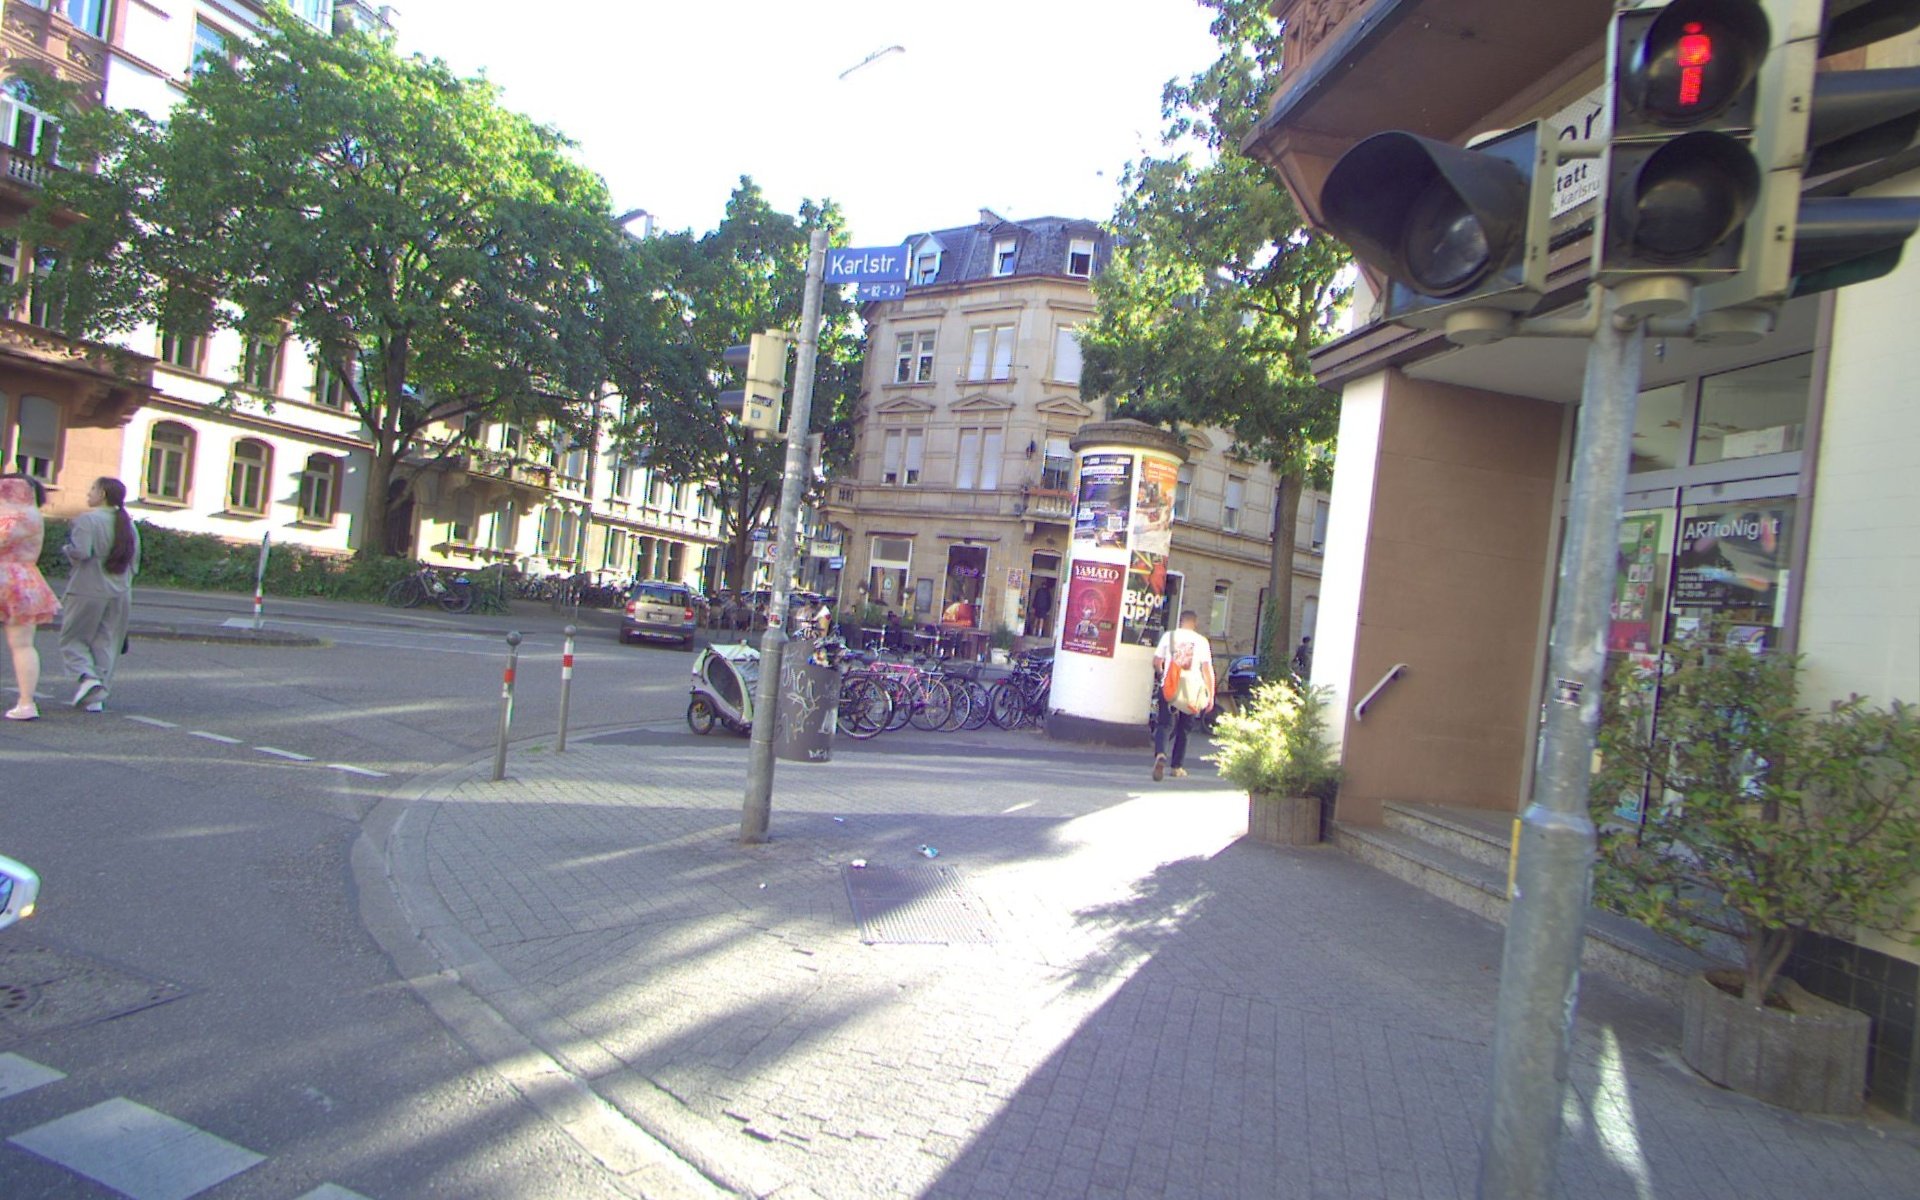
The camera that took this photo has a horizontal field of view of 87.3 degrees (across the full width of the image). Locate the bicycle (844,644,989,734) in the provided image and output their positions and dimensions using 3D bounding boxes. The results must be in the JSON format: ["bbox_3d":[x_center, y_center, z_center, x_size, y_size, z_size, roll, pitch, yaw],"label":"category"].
[{"bbox_3d":[-0.604,1.190,13.715,1.885,1.012,0.450,5,0,23],"label":"bicycle"}]

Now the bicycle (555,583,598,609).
[{"bbox_3d":[-16.304,-0.190,42.738,1.764,0.904,0.493,6,0,21],"label":"bicycle"}]

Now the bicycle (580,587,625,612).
[{"bbox_3d":[-15.088,-0.020,42.487,0.485,0.904,1.793,6,-1,33],"label":"bicycle"}]

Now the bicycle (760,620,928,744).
[{"bbox_3d":[-1.371,0.933,11.775,1.885,1.238,0.450,5,0,23],"label":"bicycle"}]

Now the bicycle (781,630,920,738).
[{"bbox_3d":[-1.344,1.009,12.315,1.582,1.125,0.450,5,0,23],"label":"bicycle"}]

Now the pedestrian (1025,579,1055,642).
[{"bbox_3d":[2.654,0.357,33.565,0.726,1.990,0.730,6,0,0],"label":"pedestrian"}]

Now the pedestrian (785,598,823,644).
[{"bbox_3d":[-5.122,0.688,32.945,0.907,1.448,0.757,2,3,-39],"label":"pedestrian"}]

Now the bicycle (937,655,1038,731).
[{"bbox_3d":[0.403,1.365,14.879,1.381,0.961,0.449,5,-1,31],"label":"bicycle"}]

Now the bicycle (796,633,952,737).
[{"bbox_3d":[-1.105,1.056,12.775,1.885,1.112,0.450,5,0,23],"label":"bicycle"}]

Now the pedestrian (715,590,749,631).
[{"bbox_3d":[-8.438,0.390,37.264,0.907,1.448,0.757,2,3,-39],"label":"pedestrian"}]

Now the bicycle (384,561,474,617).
[{"bbox_3d":[-13.239,-0.261,25.125,1.847,1.176,0.554,7,1,-35],"label":"bicycle"}]

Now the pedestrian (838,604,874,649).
[{"bbox_3d":[-3.567,0.906,34.382,0.759,1.448,0.905,2,3,-41],"label":"pedestrian"}]

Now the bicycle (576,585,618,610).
[{"bbox_3d":[-15.909,-0.110,44.032,1.764,0.904,0.493,6,0,21],"label":"bicycle"}]

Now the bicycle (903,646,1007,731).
[{"bbox_3d":[-0.078,1.248,14.415,1.381,1.055,0.449,5,0,31],"label":"bicycle"}]

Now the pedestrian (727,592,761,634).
[{"bbox_3d":[-7.790,0.472,36.320,0.906,1.448,0.757,2,3,-38],"label":"pedestrian"}]

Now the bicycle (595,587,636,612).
[{"bbox_3d":[-15.472,-0.028,45.141,1.764,0.904,0.493,6,0,21],"label":"bicycle"}]

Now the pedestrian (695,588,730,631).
[{"bbox_3d":[-8.785,0.354,35.725,0.906,1.448,0.757,2,3,-38],"label":"pedestrian"}]

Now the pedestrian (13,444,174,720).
[{"bbox_3d":[-6.477,-0.132,7.557,0.687,1.932,0.663,7,2,-37],"label":"pedestrian"}]

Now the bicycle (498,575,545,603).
[{"bbox_3d":[-17.216,-0.436,39.508,1.764,0.904,0.493,6,0,21],"label":"bicycle"}]

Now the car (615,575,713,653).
[{"bbox_3d":[-7.515,0.296,25.905,1.968,1.638,3.990,7,0,-12],"label":"car"}]

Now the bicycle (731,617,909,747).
[{"bbox_3d":[-1.584,0.895,11.301,1.885,1.238,0.505,5,0,23],"label":"bicycle"}]

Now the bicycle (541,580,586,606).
[{"bbox_3d":[-16.469,-0.286,41.784,1.764,0.904,0.493,6,0,21],"label":"bicycle"}]

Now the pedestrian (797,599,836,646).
[{"bbox_3d":[-4.599,0.729,32.298,0.906,1.448,0.757,2,3,-38],"label":"pedestrian"}]

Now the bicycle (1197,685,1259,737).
[{"bbox_3d":[4.519,1.854,16.933,1.127,0.768,0.394,1,3,-39],"label":"bicycle"}]

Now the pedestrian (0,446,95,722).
[{"bbox_3d":[-6.747,-0.139,6.920,0.749,1.819,0.807,7,-3,34],"label":"pedestrian"}]

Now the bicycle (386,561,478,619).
[{"bbox_3d":[-12.919,-0.239,24.622,1.847,1.176,0.554,7,1,-35],"label":"bicycle"}]

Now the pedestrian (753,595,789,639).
[{"bbox_3d":[-6.496,0.579,34.540,0.907,1.448,0.757,2,3,-39],"label":"pedestrian"}]

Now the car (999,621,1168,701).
[{"bbox_3d":[3.204,1.591,26.028,3.956,1.593,1.790,7,-1,-30],"label":"car"}]

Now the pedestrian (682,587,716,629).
[{"bbox_3d":[-9.456,0.300,36.500,0.907,1.448,0.757,2,3,-39],"label":"pedestrian"}]

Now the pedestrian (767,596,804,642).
[{"bbox_3d":[-5.840,0.630,33.752,0.906,1.448,0.757,2,3,-38],"label":"pedestrian"}]

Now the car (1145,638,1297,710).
[{"bbox_3d":[7.444,2.114,28.642,3.956,1.593,1.790,7,-1,-30],"label":"car"}]

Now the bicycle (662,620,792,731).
[{"bbox_3d":[-2.512,0.800,10.878,1.045,1.057,0.779,5,-1,28],"label":"bicycle"}]

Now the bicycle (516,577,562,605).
[{"bbox_3d":[-16.865,-0.373,40.321,1.764,0.904,0.493,6,0,21],"label":"bicycle"}]

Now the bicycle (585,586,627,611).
[{"bbox_3d":[-15.672,-0.068,44.529,1.764,0.904,0.493,6,0,21],"label":"bicycle"}]

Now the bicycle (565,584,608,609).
[{"bbox_3d":[-16.114,-0.151,43.388,1.764,0.904,0.493,6,0,21],"label":"bicycle"}]

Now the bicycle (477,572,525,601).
[{"bbox_3d":[-17.610,-0.508,38.575,1.764,0.904,0.493,6,0,21],"label":"bicycle"}]

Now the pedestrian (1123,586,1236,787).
[{"bbox_3d":[2.234,0.840,10.143,0.793,1.823,1.091,7,1,19],"label":"pedestrian"}]

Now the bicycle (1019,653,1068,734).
[{"bbox_3d":[1.258,1.408,15.441,0.442,1.099,1.404,5,-1,-4],"label":"bicycle"}]

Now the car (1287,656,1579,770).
[{"bbox_3d":[8.398,1.981,18.187,1.985,1.370,4.267,7,-1,-39],"label":"car"}]

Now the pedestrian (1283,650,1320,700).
[{"bbox_3d":[12.862,2.816,37.918,0.757,1.759,0.906,2,3,-35],"label":"pedestrian"}]

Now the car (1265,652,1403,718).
[{"bbox_3d":[11.666,2.668,31.346,3.956,1.593,1.790,7,-1,-30],"label":"car"}]

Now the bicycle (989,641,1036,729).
[{"bbox_3d":[0.800,1.293,15.669,0.442,1.238,1.404,5,-1,-4],"label":"bicycle"}]

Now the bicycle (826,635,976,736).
[{"bbox_3d":[-0.787,1.106,13.283,1.885,1.112,0.450,5,0,23],"label":"bicycle"}]
